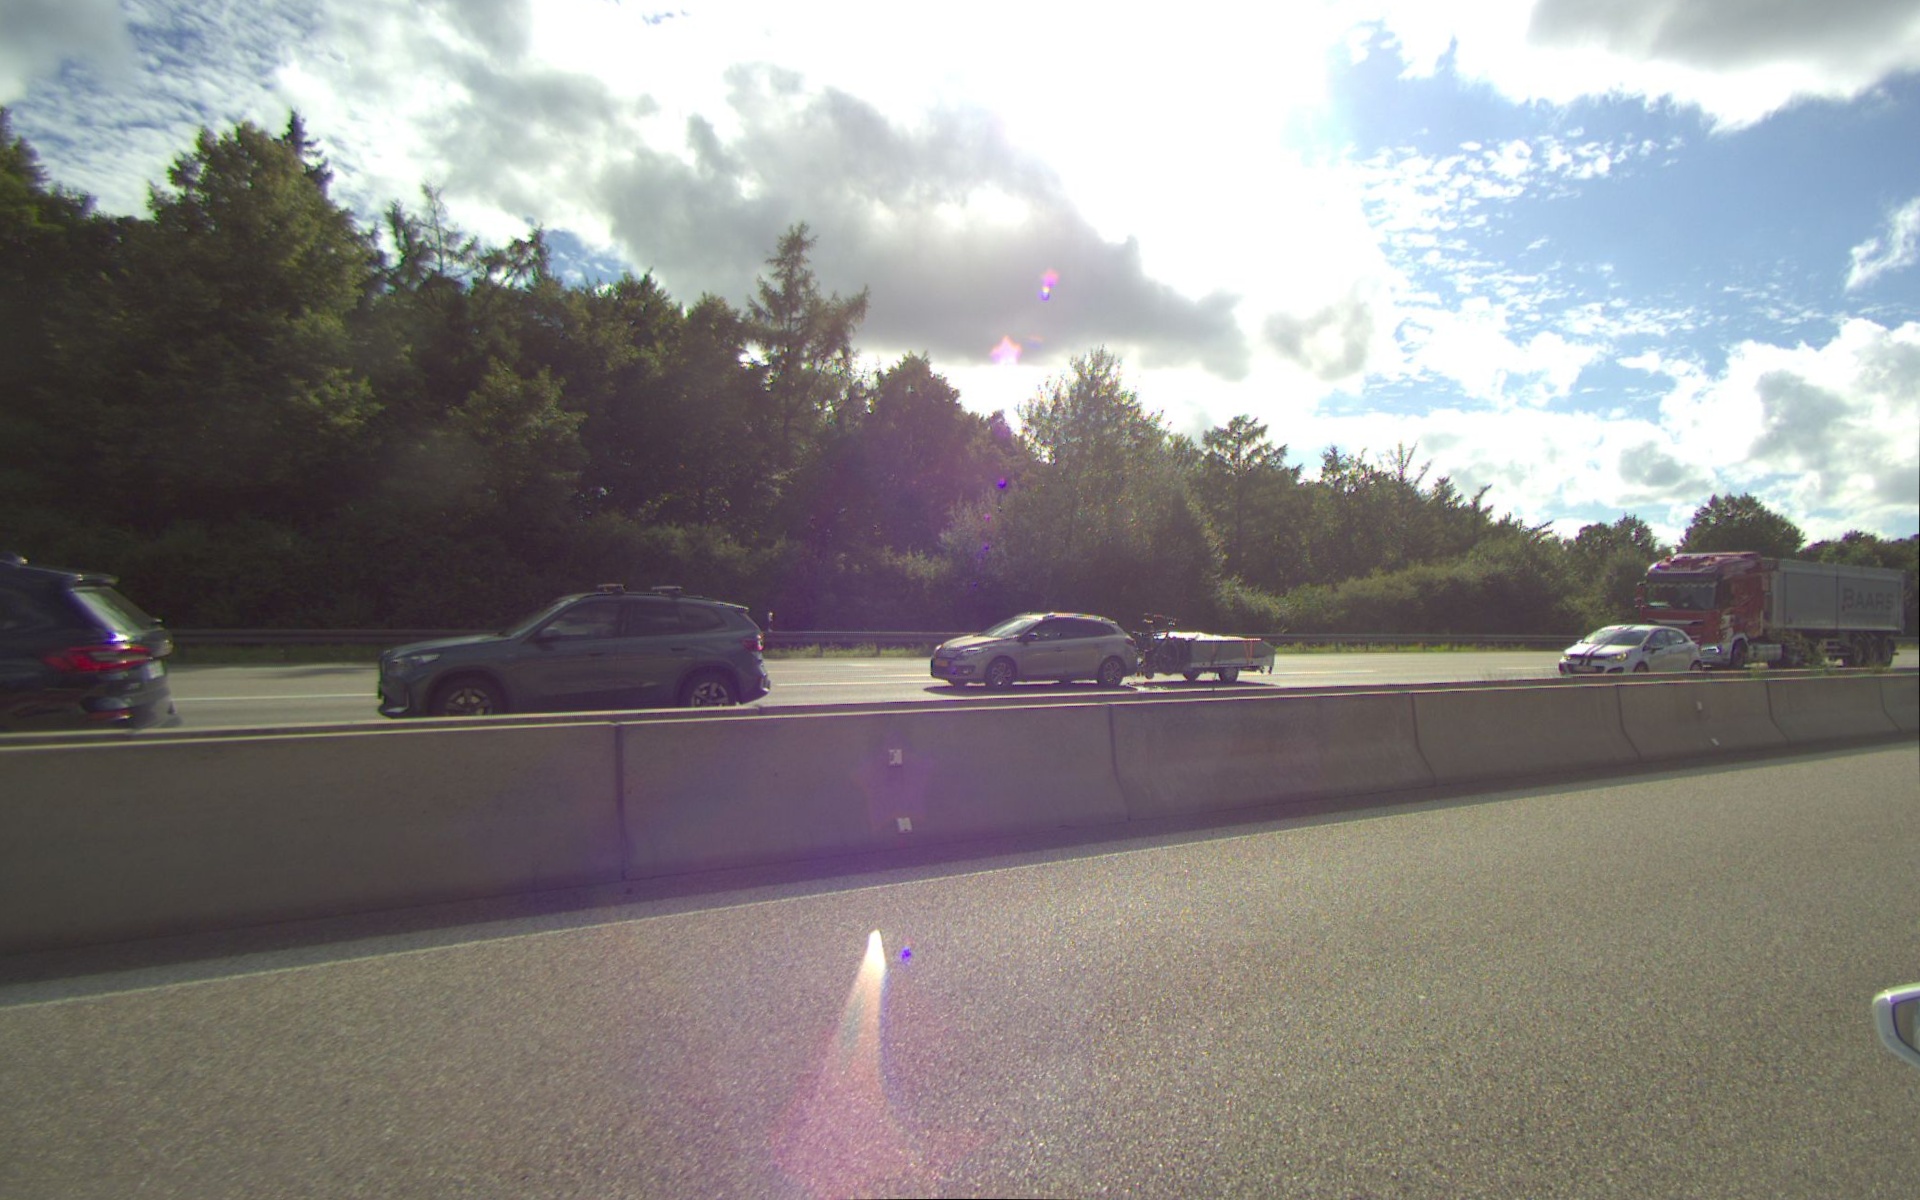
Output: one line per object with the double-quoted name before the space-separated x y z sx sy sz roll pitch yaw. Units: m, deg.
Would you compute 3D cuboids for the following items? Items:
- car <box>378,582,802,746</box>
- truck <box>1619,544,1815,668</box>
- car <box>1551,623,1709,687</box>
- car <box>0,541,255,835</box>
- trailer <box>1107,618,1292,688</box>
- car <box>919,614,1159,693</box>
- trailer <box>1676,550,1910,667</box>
"car" -4.507 0.709 12.445 4.634 1.686 1.983 1 -1 -31
"truck" 26.138 0.257 34.628 6.683 3.909 2.954 1 -1 -29
"car" 16.296 1.296 24.401 3.952 1.421 1.596 1 -1 -29
"car" -7.526 0.485 5.959 5.290 1.722 2.144 1 -1 -31
"trailer" 5.398 1.149 22.507 4.130 1.421 1.527 1 -1 -30
"car" 1.630 1.037 20.285 4.619 1.433 1.819 1 -1 -30
"trailer" 31.302 0.397 37.554 11.144 3.909 2.954 1 -1 -29
